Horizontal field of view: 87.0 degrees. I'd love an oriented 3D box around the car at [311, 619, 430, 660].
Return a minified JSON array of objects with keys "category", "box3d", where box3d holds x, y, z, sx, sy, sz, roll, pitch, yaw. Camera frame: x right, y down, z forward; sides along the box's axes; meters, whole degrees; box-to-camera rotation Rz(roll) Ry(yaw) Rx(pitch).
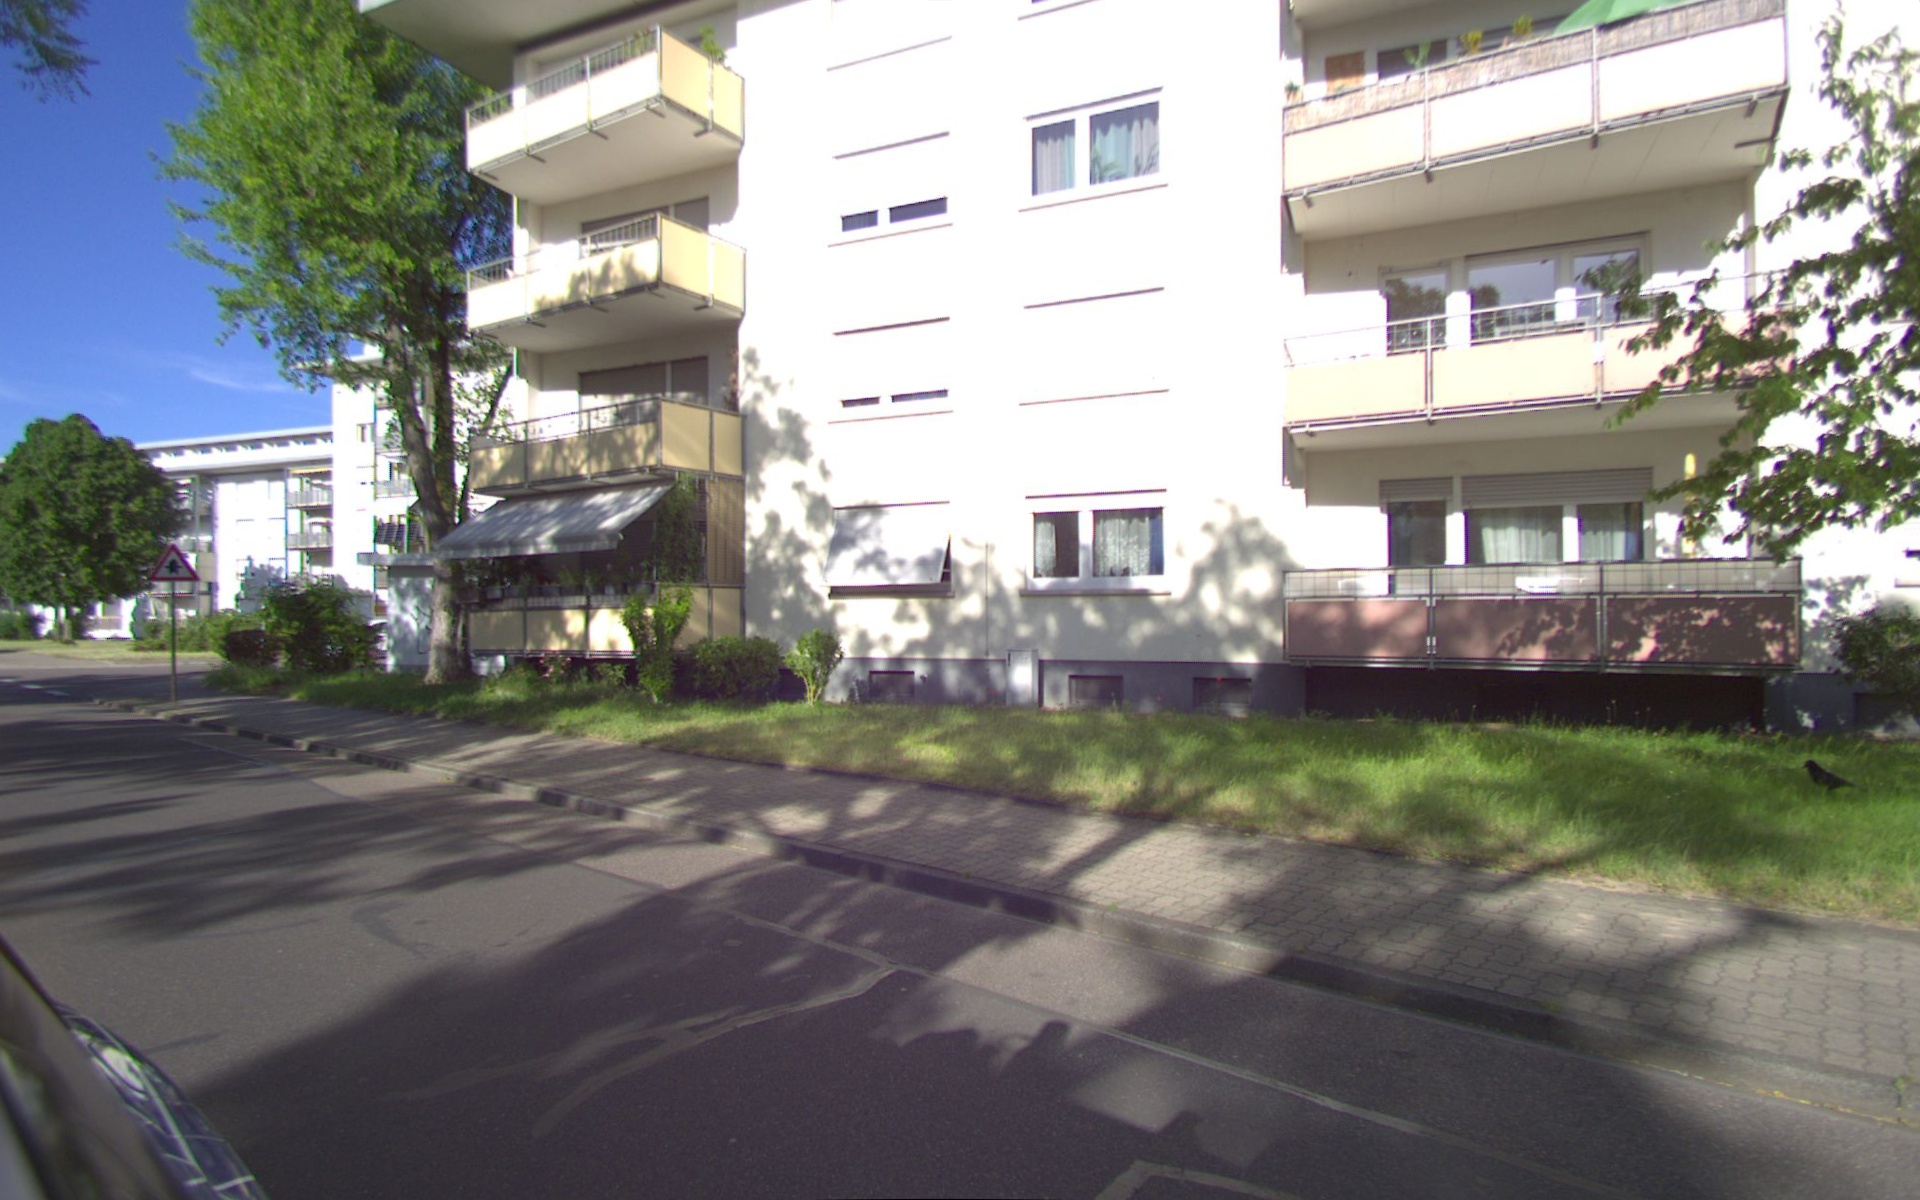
[{"category":"car","box3d":[-22.387,1.481,38.500,3.673,1.436,1.535,0,-2,-43]}]
